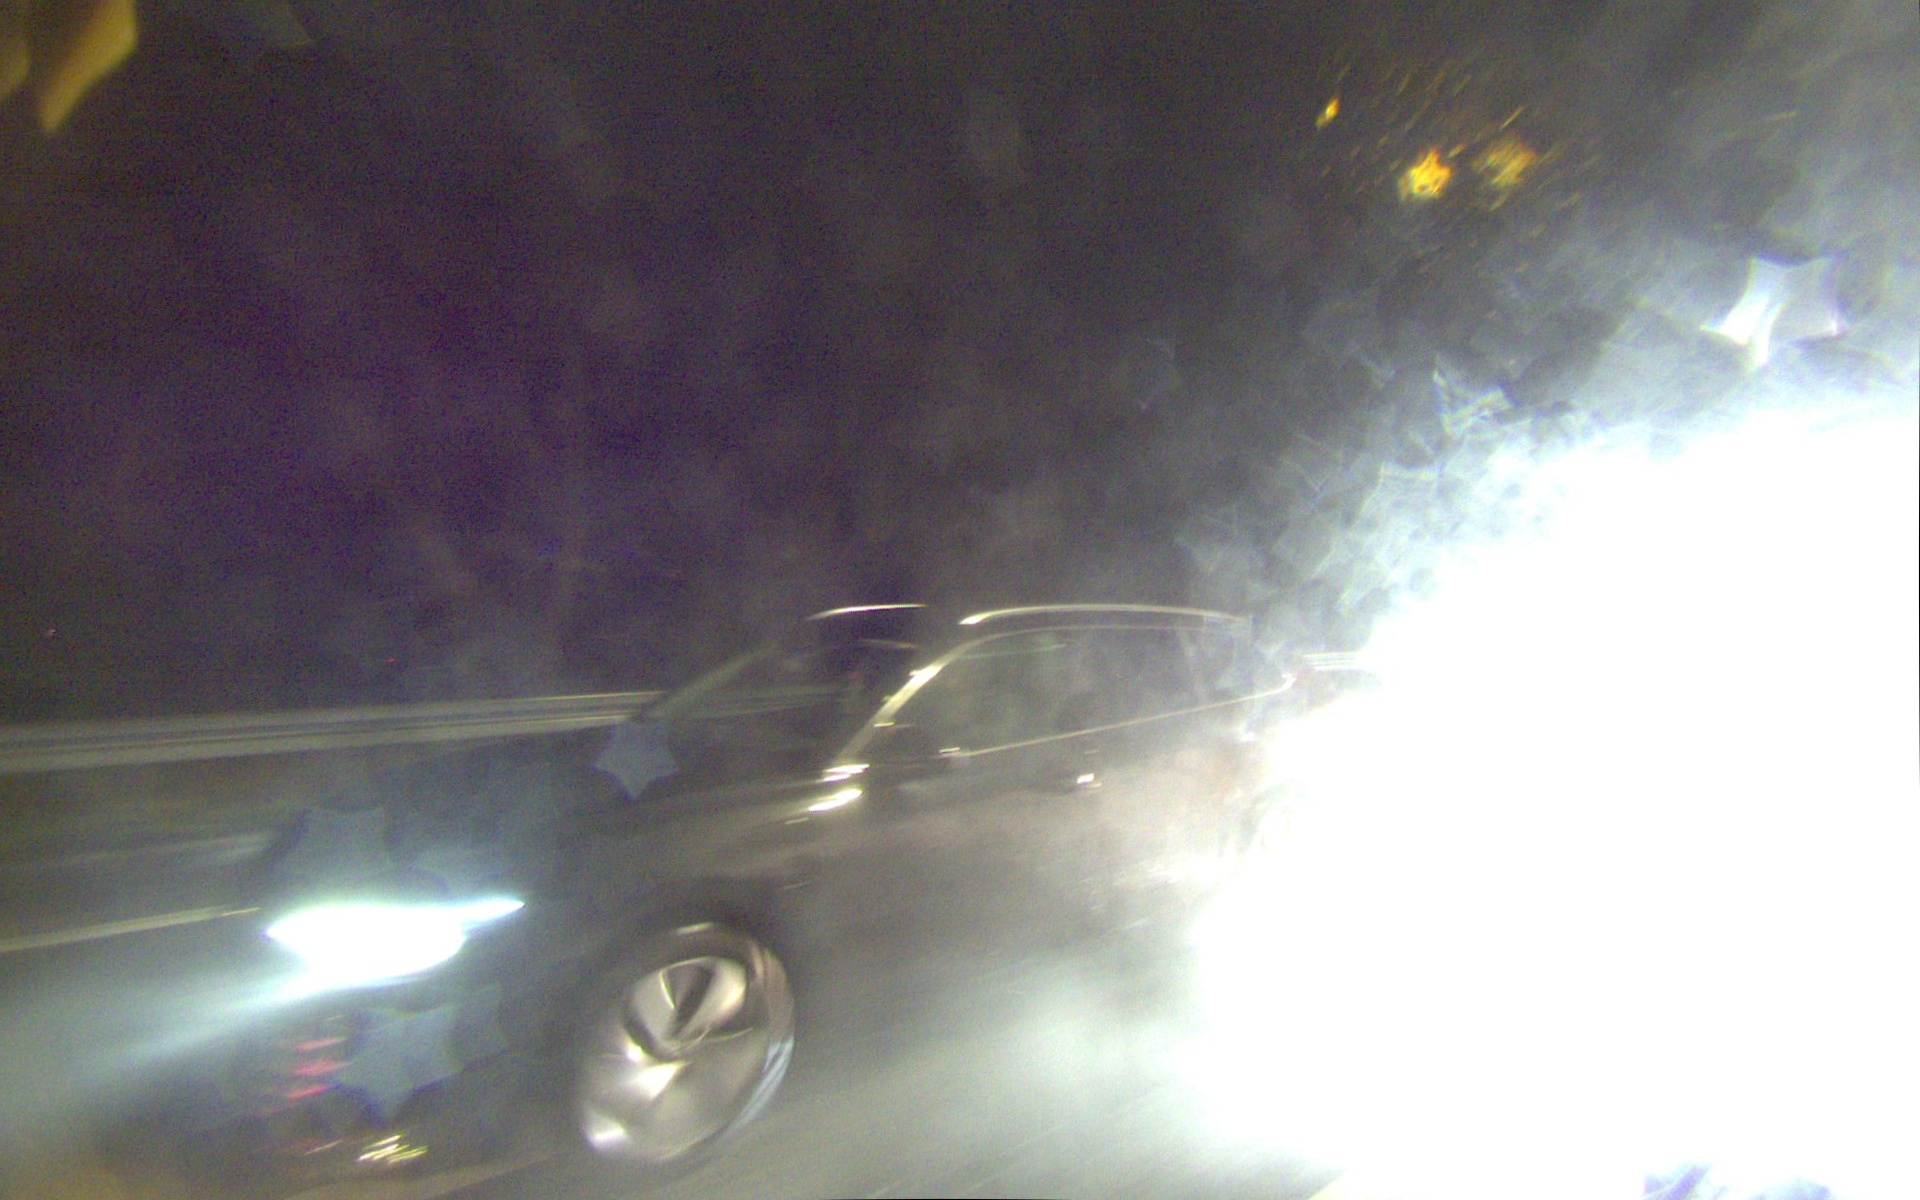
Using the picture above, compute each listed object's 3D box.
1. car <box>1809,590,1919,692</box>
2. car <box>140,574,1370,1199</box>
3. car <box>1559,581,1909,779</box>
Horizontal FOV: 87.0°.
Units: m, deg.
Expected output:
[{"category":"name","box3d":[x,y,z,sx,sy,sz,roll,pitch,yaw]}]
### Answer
[{"category":"car","box3d":[15.284,0.586,16.207,4.064,1.435,1.743,-1,0,-38]},{"category":"car","box3d":[-0.356,0.712,4.031,4.478,1.525,1.676,-1,-1,-39]},{"category":"car","box3d":[7.792,0.615,10.044,4.334,1.541,1.711,-1,0,-38]}]
